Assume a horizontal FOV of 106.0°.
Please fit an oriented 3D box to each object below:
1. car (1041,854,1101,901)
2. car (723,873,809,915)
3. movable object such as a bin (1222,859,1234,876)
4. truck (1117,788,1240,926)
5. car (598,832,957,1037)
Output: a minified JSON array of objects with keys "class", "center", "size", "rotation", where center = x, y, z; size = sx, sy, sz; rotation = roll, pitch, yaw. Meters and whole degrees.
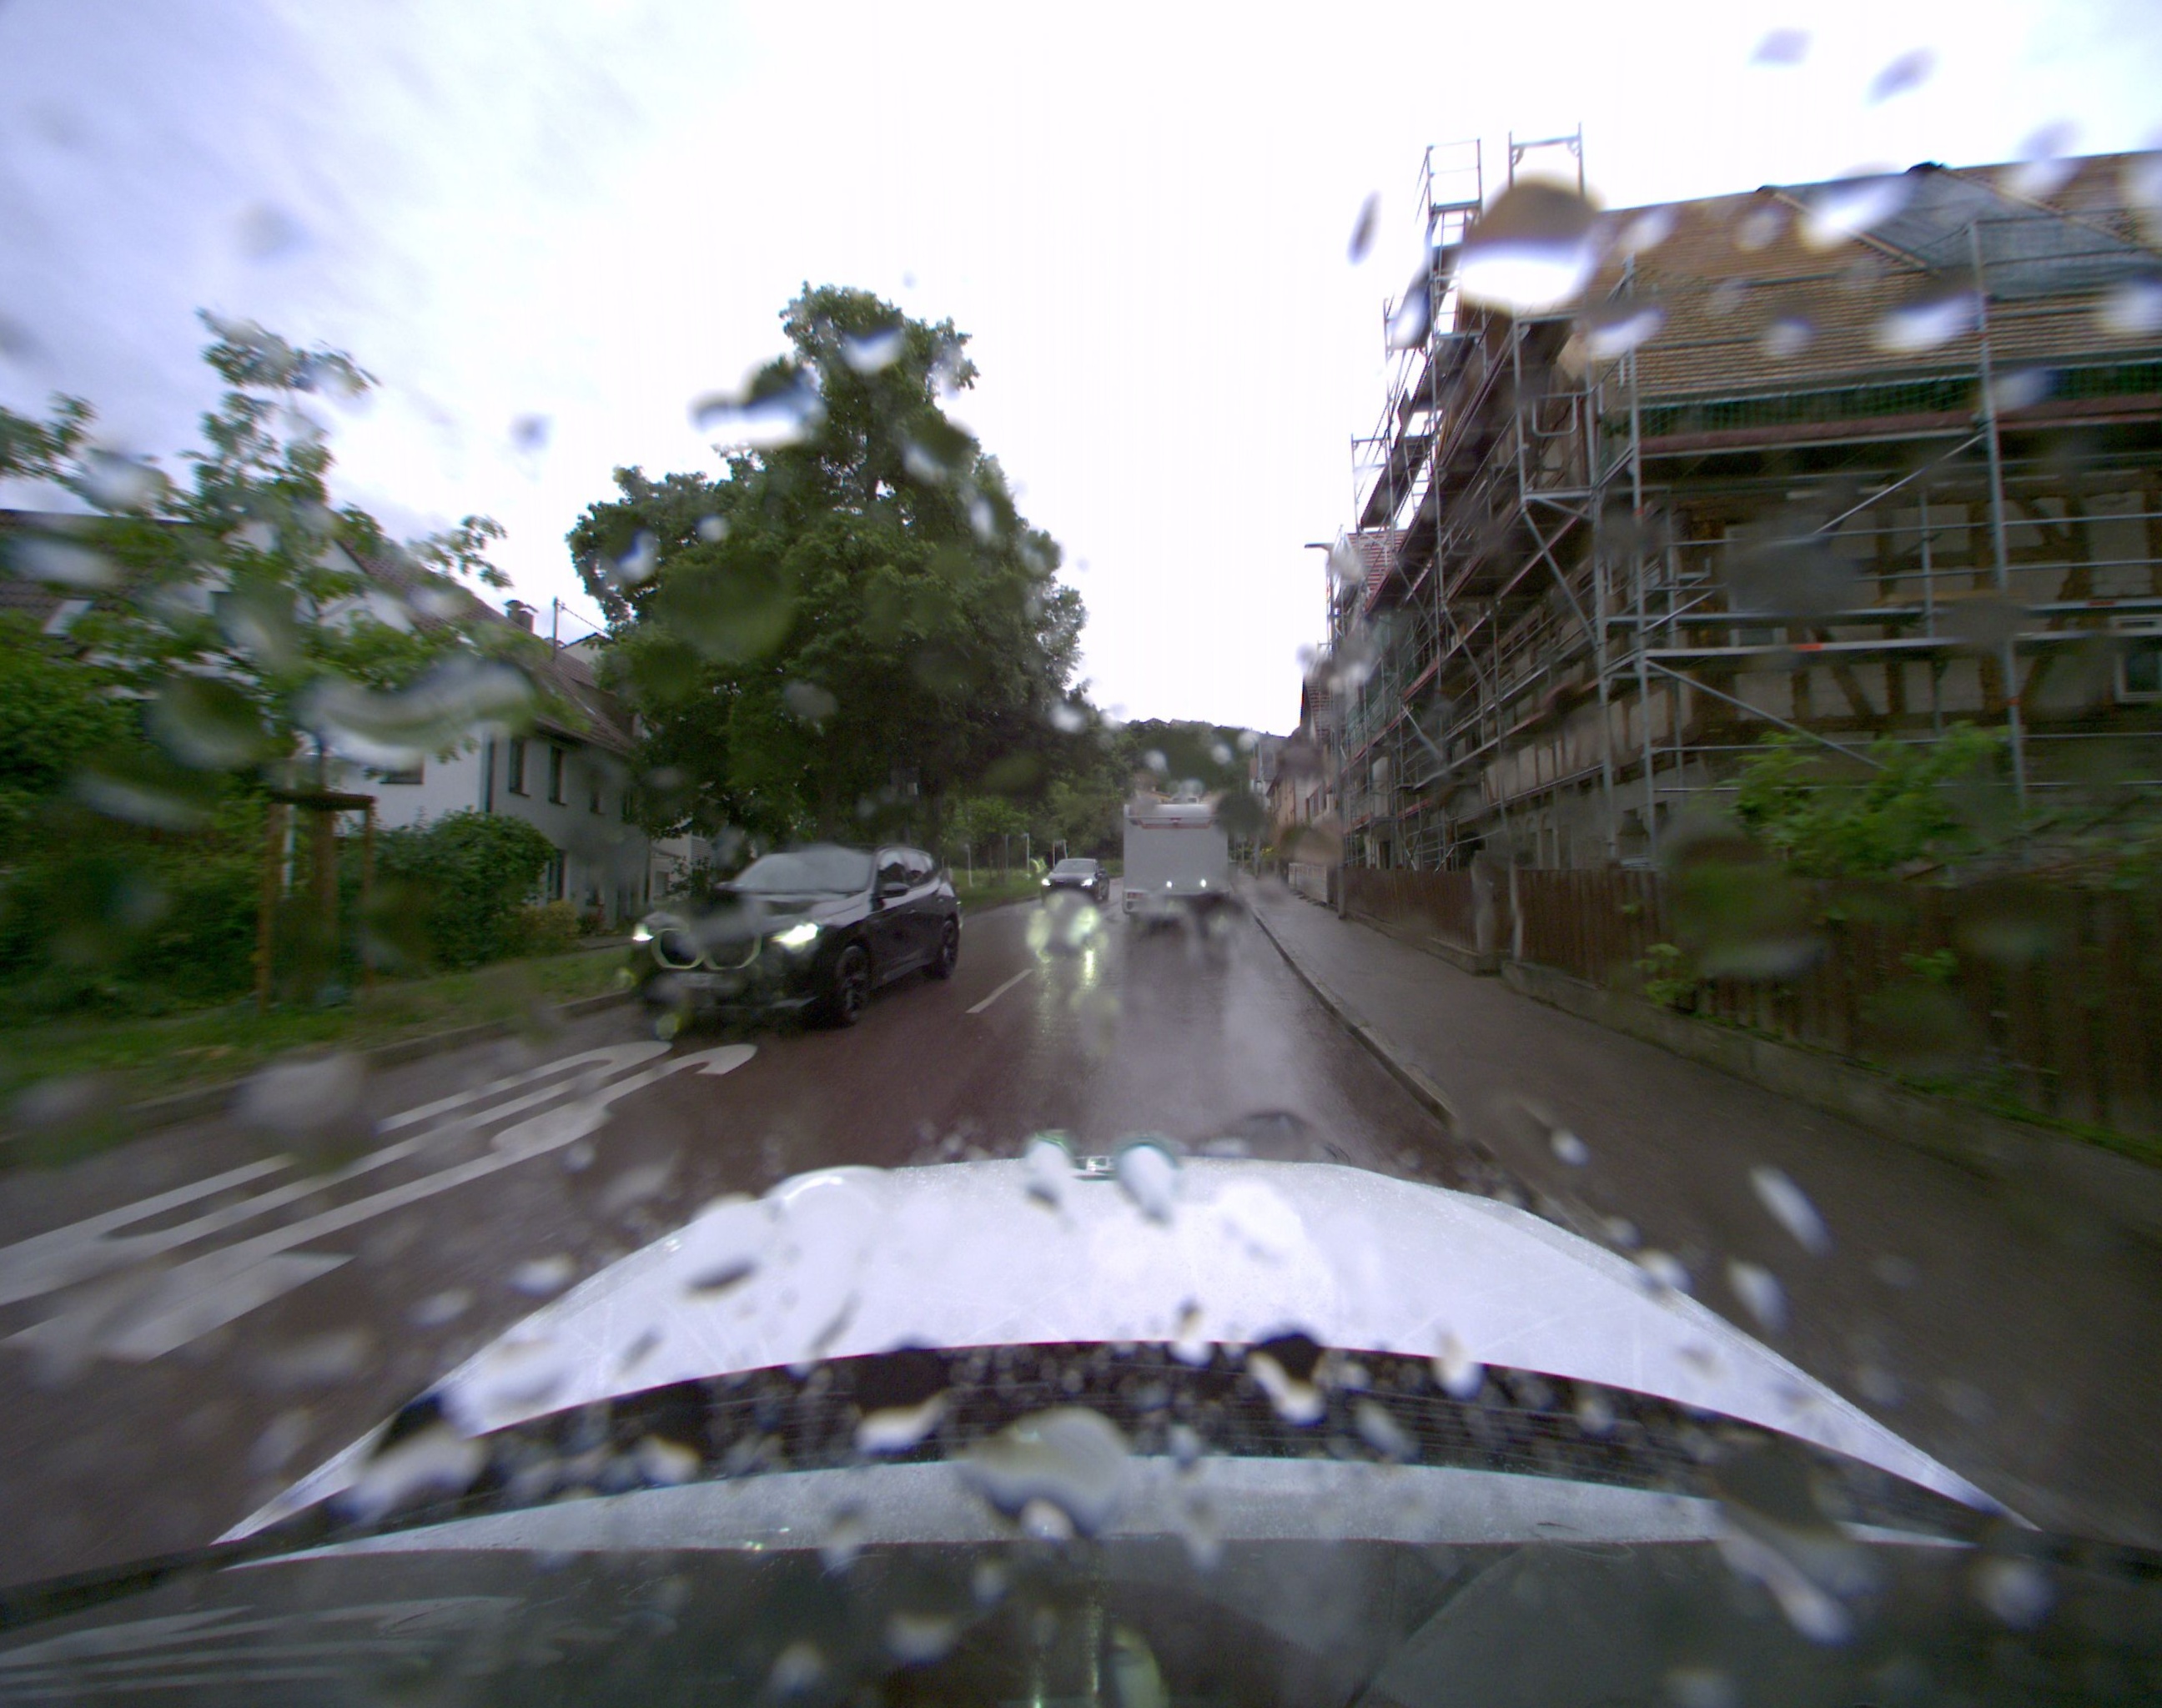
[{"class":"car","center":[-0.251,0.738,27.100],"size":[1.758,1.441,4.066],"rotation":[0,0,3]},{"class":"car","center":[-11.150,1.372,29.050],"size":[1.991,1.329,3.440],"rotation":[0,0,-6]},{"class":"movable object such as a bin","center":[9.424,0.857,52.193],"size":[0.715,1.052,0.803],"rotation":[0,0,12]},{"class":"truck","center":[2.450,0.072,19.834],"size":[2.501,2.817,6.216],"rotation":[0,0,8]},{"class":"car","center":[-2.759,0.645,8.583],"size":[1.878,1.615,4.146],"rotation":[0,0,6]}]
